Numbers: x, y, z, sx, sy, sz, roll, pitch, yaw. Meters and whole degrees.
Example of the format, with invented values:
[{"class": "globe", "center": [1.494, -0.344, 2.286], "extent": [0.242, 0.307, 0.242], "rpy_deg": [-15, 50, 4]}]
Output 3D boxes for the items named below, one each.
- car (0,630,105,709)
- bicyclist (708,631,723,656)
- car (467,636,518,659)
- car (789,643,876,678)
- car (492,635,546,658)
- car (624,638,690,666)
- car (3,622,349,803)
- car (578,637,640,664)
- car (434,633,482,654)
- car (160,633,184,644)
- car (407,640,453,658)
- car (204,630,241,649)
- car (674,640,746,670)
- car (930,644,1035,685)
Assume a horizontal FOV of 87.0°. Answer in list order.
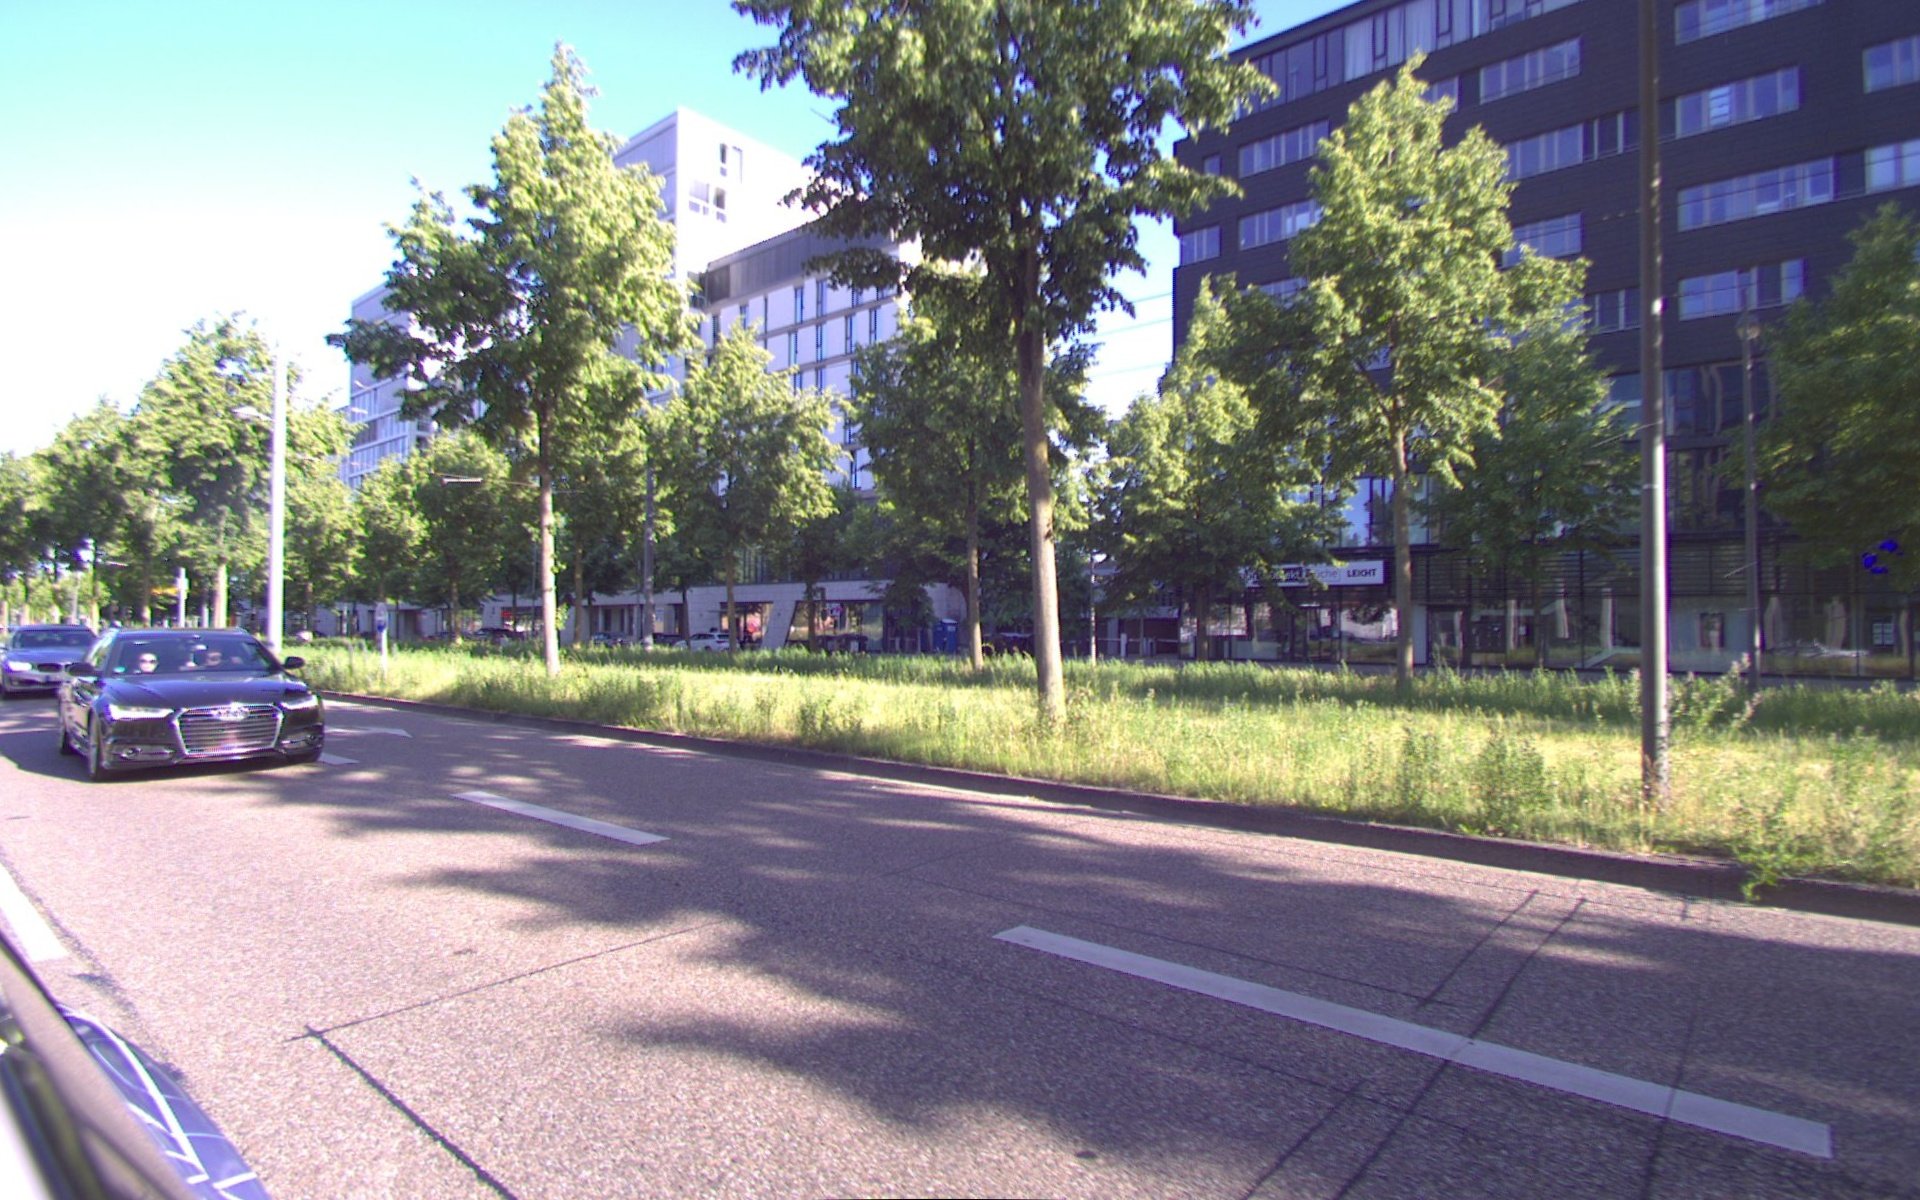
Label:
[{"class": "car", "center": [-19.509, 1.379, 21.114], "extent": [4.558, 1.496, 1.800], "rpy_deg": [-1, -3, 40]}, {"class": "bicyclist", "center": [-14.630, 2.604, 60.502], "extent": [0.820, 1.435, 0.472], "rpy_deg": [-1, -3, 41]}, {"class": "car", "center": [-34.515, 3.498, 74.641], "extent": [4.181, 1.610, 1.859], "rpy_deg": [-1, -3, 41]}, {"class": "car", "center": [-6.279, 2.927, 49.507], "extent": [4.181, 1.610, 1.926], "rpy_deg": [-1, -3, 41]}, {"class": "car", "center": [-31.049, 3.247, 71.146], "extent": [4.181, 1.610, 1.859], "rpy_deg": [-1, -3, 41]}, {"class": "car", "center": [-18.066, 3.079, 60.242], "extent": [4.181, 1.610, 1.859], "rpy_deg": [-1, -3, 41]}, {"class": "car", "center": [-8.421, 0.995, 10.677], "extent": [4.963, 1.496, 1.855], "rpy_deg": [-1, -3, 40]}, {"class": "car", "center": [-22.099, 3.131, 63.649], "extent": [4.181, 1.610, 1.859], "rpy_deg": [-1, -3, 41]}, {"class": "car", "center": [-38.974, 3.350, 78.540], "extent": [4.181, 1.610, 1.859], "rpy_deg": [-1, -3, 41]}, {"class": "car", "center": [-107.098, 5.252, 137.561], "extent": [4.001, 1.406, 1.971], "rpy_deg": [-2, -3, 44]}, {"class": "car", "center": [-43.736, 4.009, 83.480], "extent": [3.995, 1.406, 1.974], "rpy_deg": [-1, -3, 39]}, {"class": "car", "center": [-66.366, 3.540, 91.044], "extent": [3.998, 1.694, 1.870], "rpy_deg": [-1, -3, 41]}, {"class": "car", "center": [-13.935, 3.024, 56.333], "extent": [4.181, 1.610, 1.859], "rpy_deg": [-1, -3, 41]}, {"class": "car", "center": [0.924, 2.661, 42.640], "extent": [4.181, 1.610, 1.926], "rpy_deg": [-1, -3, 41]}]
